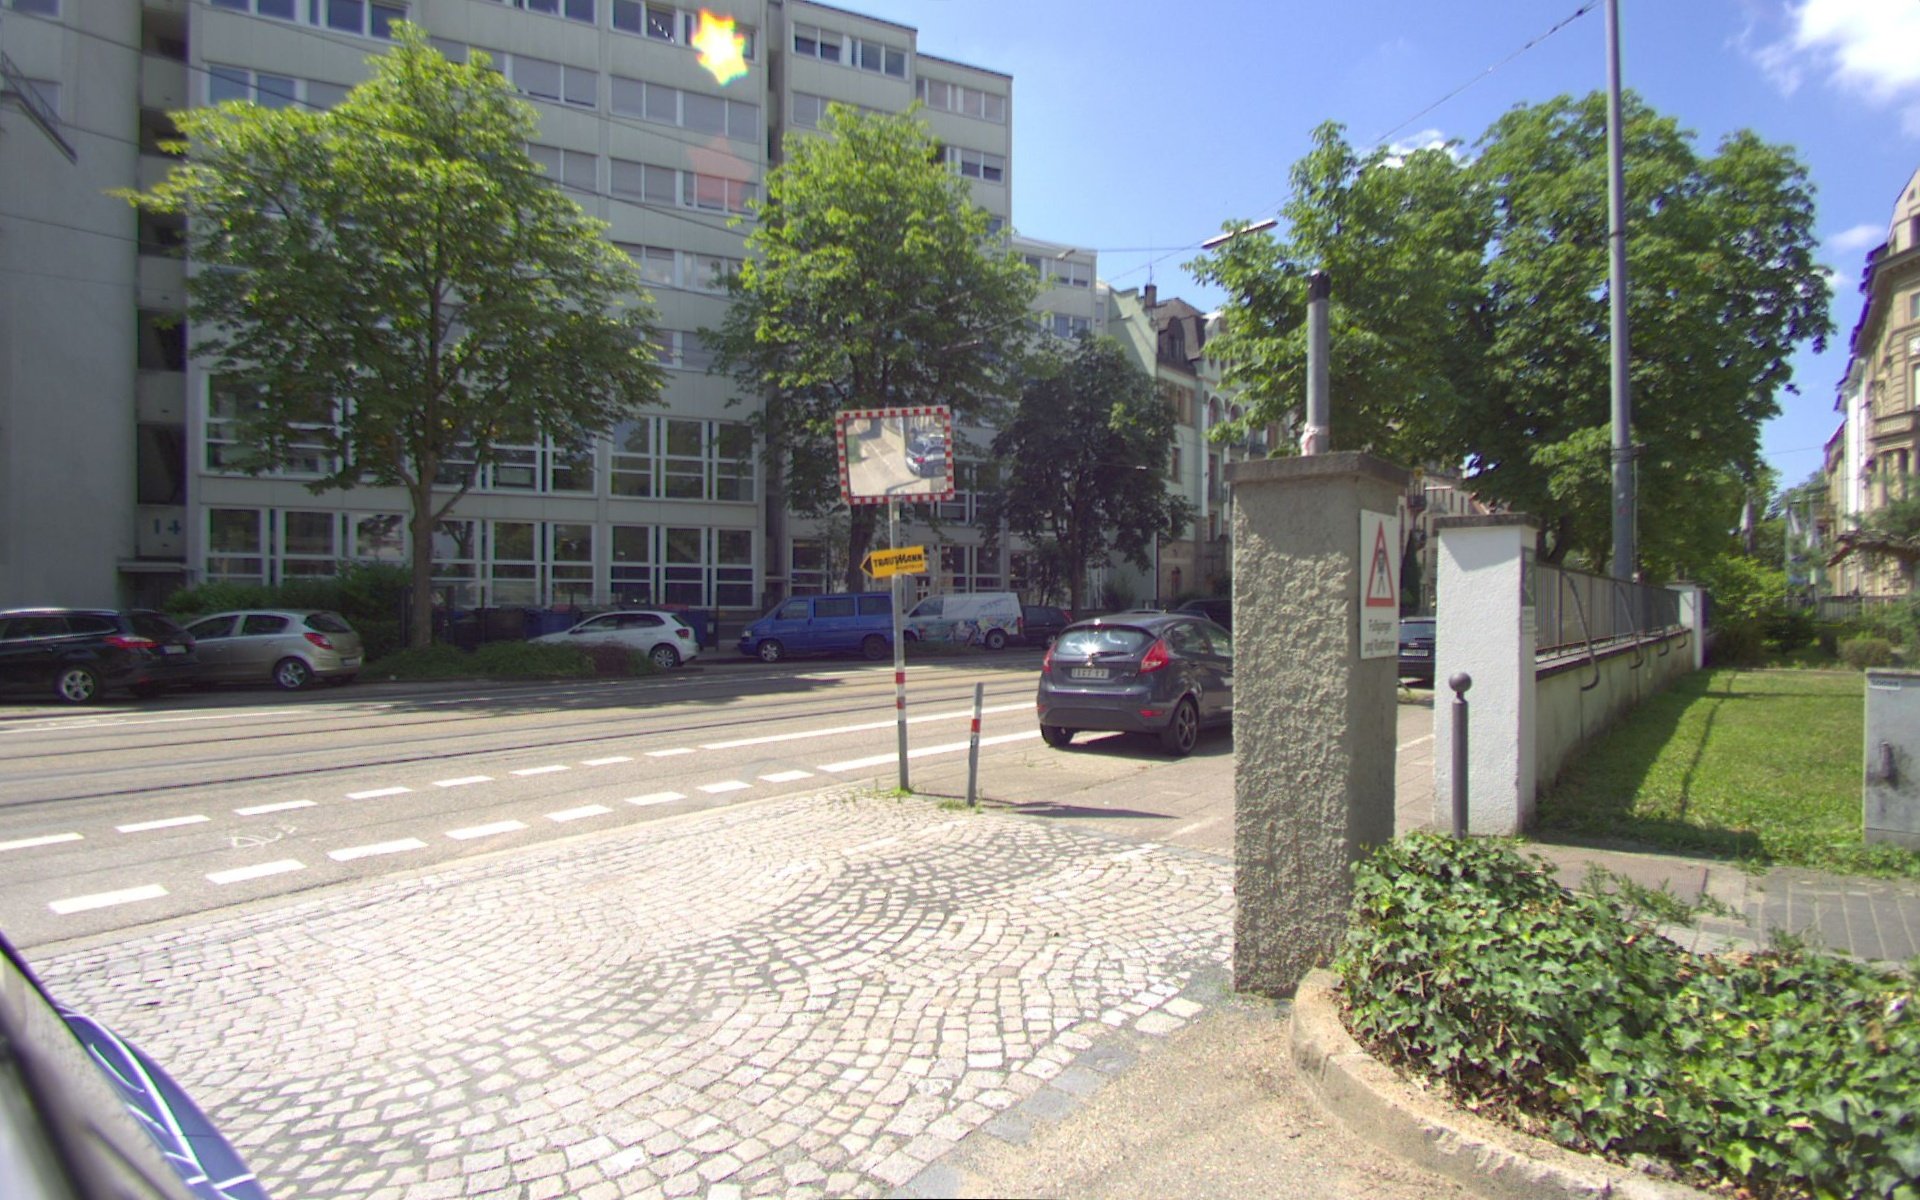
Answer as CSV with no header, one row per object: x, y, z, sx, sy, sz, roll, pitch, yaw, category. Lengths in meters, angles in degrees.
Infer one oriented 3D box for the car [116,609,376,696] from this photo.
-12.923,0.918,18.522,3.484,1.473,1.757,0,-1,-7,car

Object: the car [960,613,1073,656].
2.025,1.225,36.287,3.950,1.497,1.668,0,-1,5,car

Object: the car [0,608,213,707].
-14.700,0.888,16.176,4.132,1.481,1.757,0,-1,-7,car

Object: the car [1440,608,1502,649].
22.047,1.211,43.595,1.605,1.664,3.948,0,-1,39,car

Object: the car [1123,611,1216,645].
9.760,1.288,47.212,3.973,1.519,1.934,-1,-1,22,car

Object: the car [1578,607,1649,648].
27.975,1.151,43.286,3.941,1.626,1.731,0,-2,-45,car

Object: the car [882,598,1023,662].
-0.230,0.985,33.636,4.568,2.029,1.999,0,-1,2,car

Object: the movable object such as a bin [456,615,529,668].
-12.456,1.086,26.955,1.125,1.340,1.432,-2,-2,41,movable object such as a bin

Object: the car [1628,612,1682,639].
39.854,1.449,58.022,3.941,1.490,1.813,0,-2,-45,car

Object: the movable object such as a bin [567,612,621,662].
-10.659,1.070,29.452,1.164,1.409,1.039,0,-2,-43,movable object such as a bin

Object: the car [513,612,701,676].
-8.203,1.007,23.805,3.919,1.424,1.718,0,-1,-7,car

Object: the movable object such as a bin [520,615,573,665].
-11.523,1.095,28.202,0.971,1.340,1.062,-2,-2,41,movable object such as a bin

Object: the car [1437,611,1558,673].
13.994,1.041,26.263,1.951,1.455,3.721,-2,-1,41,car

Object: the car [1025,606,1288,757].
2.415,0.851,11.772,1.585,1.468,3.681,-4,-3,35,car

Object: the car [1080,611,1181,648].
7.403,1.288,44.112,3.937,1.397,1.754,2,1,-7,car

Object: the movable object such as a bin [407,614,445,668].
-14.207,1.076,26.935,0.791,1.416,0.769,0,-2,-37,movable object such as a bin

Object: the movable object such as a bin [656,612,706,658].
-8.706,1.080,31.609,1.164,1.409,1.039,0,-2,-43,movable object such as a bin

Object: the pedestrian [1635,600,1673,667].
16.738,0.804,24.408,0.696,1.579,0.735,-1,-1,37,pedestrian

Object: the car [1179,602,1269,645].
12.753,1.142,48.884,3.973,2.029,1.985,-1,-1,22,car

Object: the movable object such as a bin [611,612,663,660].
-9.722,1.075,30.491,1.164,1.409,1.039,0,-2,-43,movable object such as a bin

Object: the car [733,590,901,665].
-4.039,0.755,28.850,4.559,2.029,2.003,0,-1,-6,car

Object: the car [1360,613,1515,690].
10.078,1.016,21.211,1.883,1.429,4.094,-2,-1,41,car
